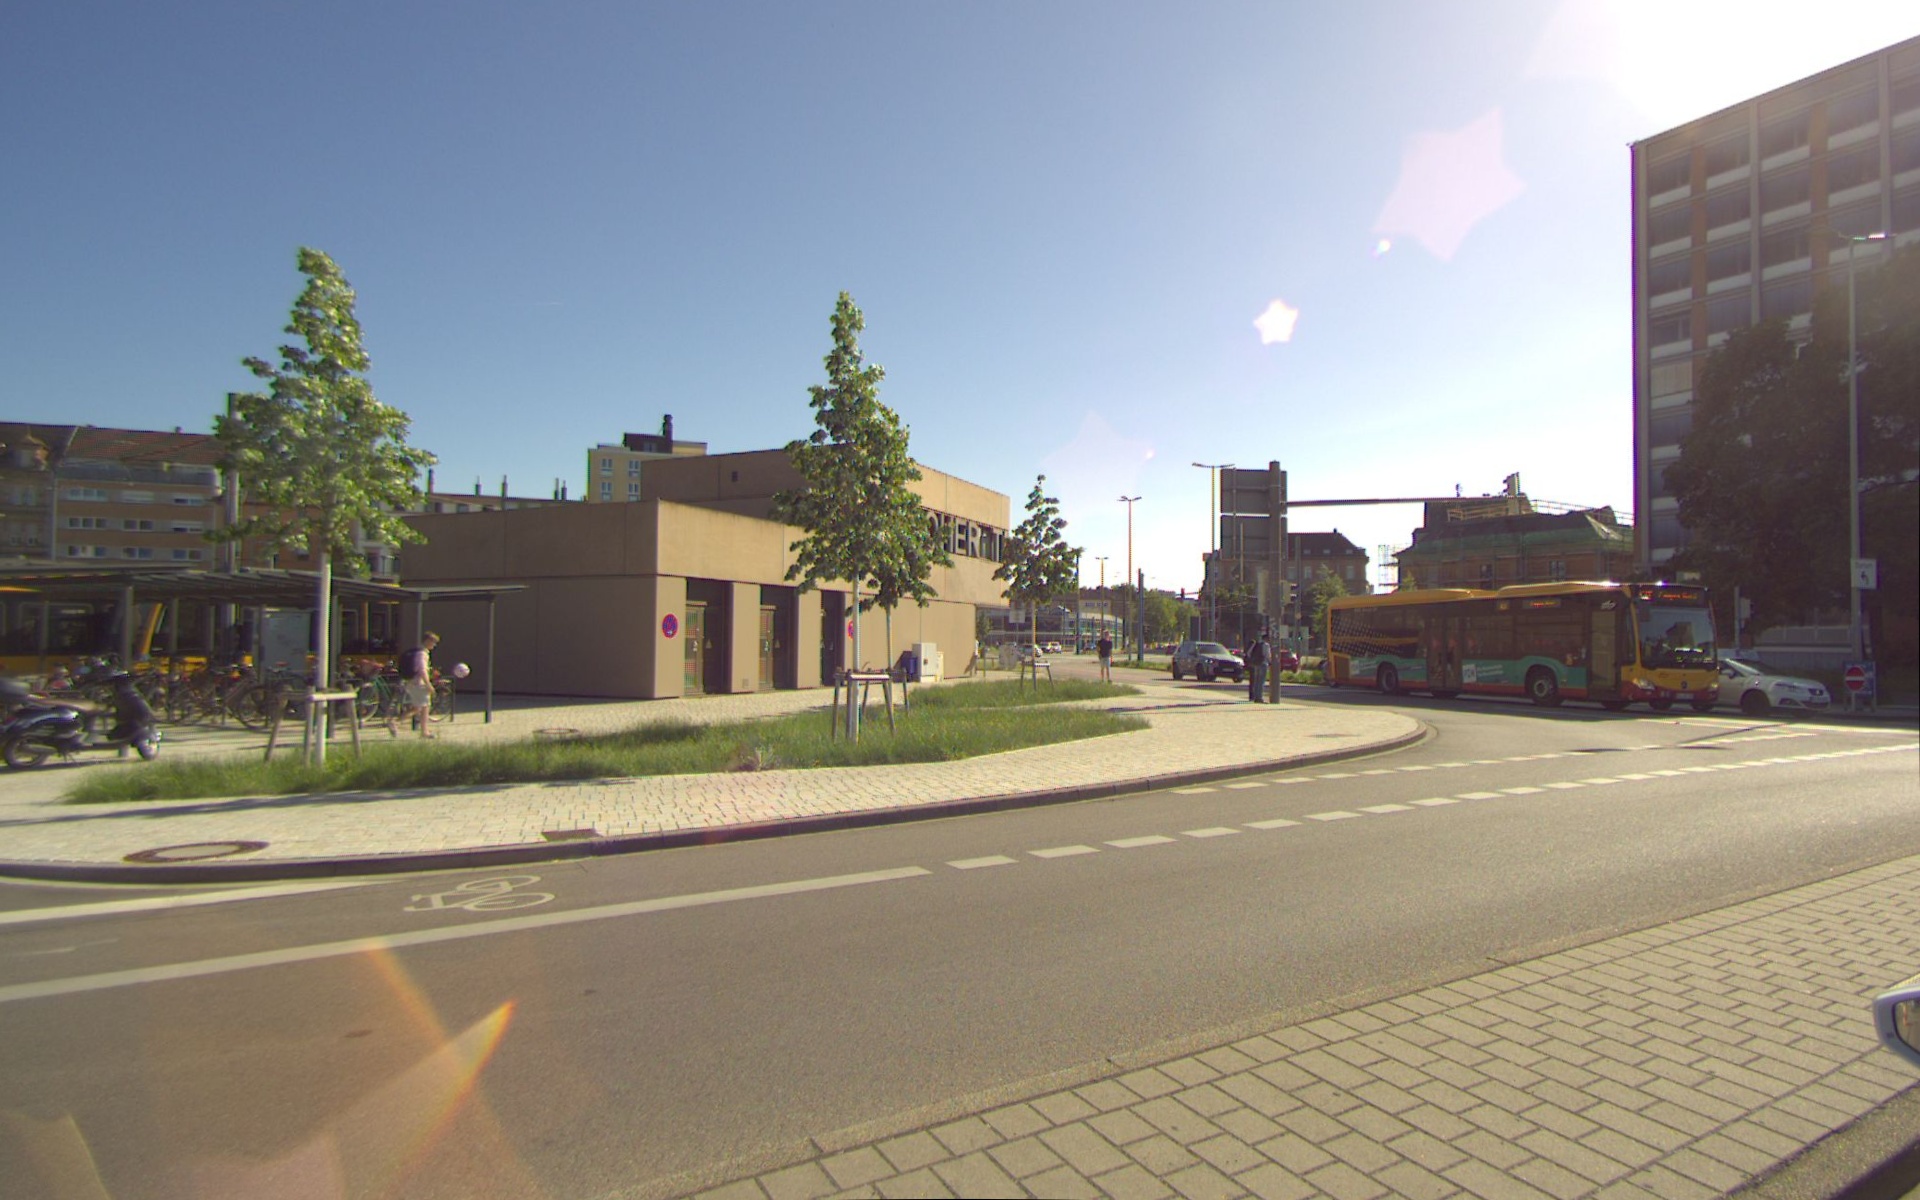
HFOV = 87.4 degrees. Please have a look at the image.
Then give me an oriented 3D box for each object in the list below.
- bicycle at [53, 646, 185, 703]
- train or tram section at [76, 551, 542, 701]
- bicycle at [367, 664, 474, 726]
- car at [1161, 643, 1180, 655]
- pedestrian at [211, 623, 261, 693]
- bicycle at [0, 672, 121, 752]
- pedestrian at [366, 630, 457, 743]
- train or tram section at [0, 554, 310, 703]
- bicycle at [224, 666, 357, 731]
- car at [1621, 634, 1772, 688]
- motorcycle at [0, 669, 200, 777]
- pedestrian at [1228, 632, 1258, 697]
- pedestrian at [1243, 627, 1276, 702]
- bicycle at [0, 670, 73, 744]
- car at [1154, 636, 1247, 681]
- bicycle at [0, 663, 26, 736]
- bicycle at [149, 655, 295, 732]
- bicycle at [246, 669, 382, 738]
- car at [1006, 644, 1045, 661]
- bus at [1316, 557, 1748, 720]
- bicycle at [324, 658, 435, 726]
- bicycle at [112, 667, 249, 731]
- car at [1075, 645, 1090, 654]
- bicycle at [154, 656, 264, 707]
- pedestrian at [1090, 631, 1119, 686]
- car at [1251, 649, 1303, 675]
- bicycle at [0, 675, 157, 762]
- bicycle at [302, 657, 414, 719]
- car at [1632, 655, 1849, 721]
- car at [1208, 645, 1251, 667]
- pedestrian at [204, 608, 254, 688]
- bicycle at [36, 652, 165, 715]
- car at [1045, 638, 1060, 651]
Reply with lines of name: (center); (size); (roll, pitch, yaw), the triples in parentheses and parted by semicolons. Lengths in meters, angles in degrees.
bicycle: (-15.996, 1.394, 19.159); (0.617, 1.021, 1.828); (0, -2, 27)
train or tram section: (-18.726, 0.861, 30.695); (2.702, 3.648, 12.318); (0, -2, 25)
bicycle: (-9.826, 1.712, 18.376); (0.616, 1.021, 1.832); (0, -2, 16)
car: (30.301, 7.079, 144.894); (1.960, 1.603, 4.001); (2, 0, 2)
pedestrian: (-17.873, 1.417, 24.814); (0.593, 1.681, 0.772); (0, -2, 23)
bicycle: (-13.124, 1.560, 14.065); (0.617, 1.021, 2.026); (0, -2, 25)
pedestrian: (-8.818, 1.355, 16.159); (0.826, 1.727, 1.020); (-1, -2, 38)
train or tram section: (-24.133, 0.755, 26.322); (2.779, 3.648, 12.320); (0, -2, 24)
bicycle: (-11.619, 1.683, 17.493); (0.492, 1.010, 1.887); (0, -2, 31)
car: (29.669, 2.394, 40.703); (2.034, 2.040, 5.010); (1, -2, -8)
motorcycle: (-10.923, 1.481, 12.468); (0.599, 1.173, 2.360); (0, -2, 25)
pedestrian: (7.579, 1.719, 26.918); (0.594, 1.719, 0.634); (1, -2, -7)
pedestrian: (7.624, 1.632, 25.615); (0.594, 1.880, 0.681); (1, -2, -7)
bicycle: (-14.108, 1.552, 14.505); (0.617, 1.021, 1.829); (0, -2, 25)
car: (10.747, 2.578, 45.255); (1.973, 1.885, 4.725); (1, -2, -17)
bicycle: (-15.276, 1.518, 15.004); (0.617, 1.094, 1.829); (0, -2, 25)
bicycle: (-12.892, 1.602, 17.621); (0.496, 1.225, 2.051); (0, -2, 26)
bicycle: (-10.676, 1.681, 16.676); (0.617, 1.021, 1.828); (0, -2, 27)
car: (7.326, 5.872, 112.308); (3.929, 1.795, 1.780); (-1, -2, 30)
bus: (15.126, 1.075, 28.728); (3.194, 3.617, 12.434); (1, -2, -13)
bicycle: (-10.746, 1.679, 18.676); (0.616, 1.161, 1.831); (0, -2, 18)
bicycle: (-13.869, 1.744, 17.930); (0.617, 1.021, 1.828); (0, -2, 27)
car: (19.701, 7.889, 161.151); (1.960, 1.408, 4.001); (1, -2, 0)
bicycle: (-16.261, 1.737, 21.796); (0.617, 1.021, 1.829); (0, -2, 25)
pedestrian: (5.035, 2.028, 35.045); (0.826, 1.869, 0.866); (1, -2, -7)
car: (20.488, 3.971, 65.041); (1.962, 1.538, 3.818); (1, -2, -4)
bicycle: (-12.041, 1.561, 13.513); (0.617, 1.021, 1.829); (0, -2, 25)
bicycle: (-11.750, 1.690, 19.681); (0.617, 1.107, 1.829); (0, -2, 25)
car: (19.072, 2.091, 24.779); (1.731, 1.391, 3.986); (1, -2, -17)
car: (20.192, 4.215, 75.465); (1.962, 1.538, 3.818); (1, -2, -4)
pedestrian: (-17.415, 1.138, 23.941); (0.738, 1.880, 0.709); (1, -2, -19)
bicycle: (-16.915, 1.613, 19.821); (0.617, 1.146, 1.828); (0, -2, 27)
car: (13.631, 6.540, 147.804); (1.865, 1.728, 4.003); (0, -2, 9)
